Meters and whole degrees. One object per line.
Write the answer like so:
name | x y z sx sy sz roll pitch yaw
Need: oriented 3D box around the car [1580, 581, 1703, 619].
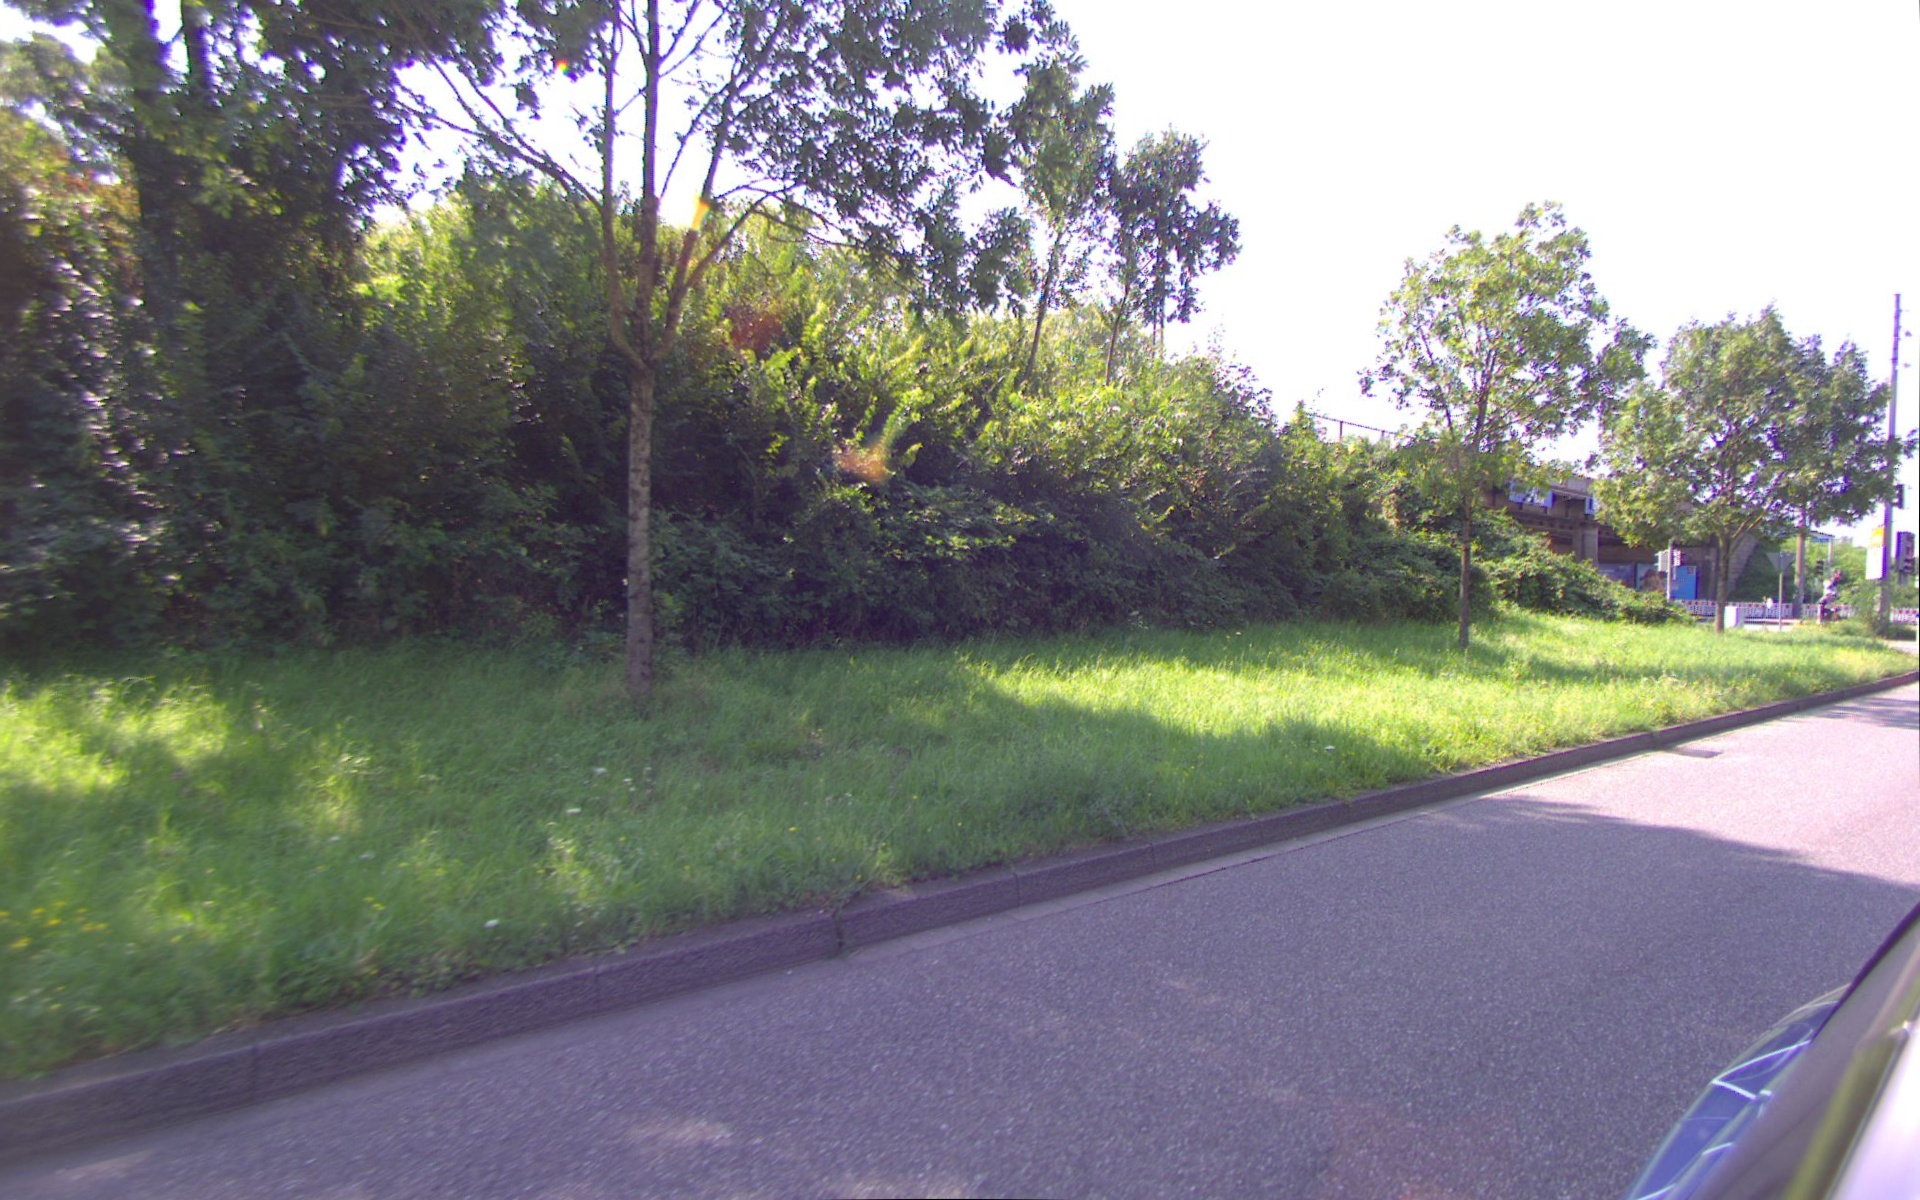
car | 32.246 -0.035 48.029 4.417 1.637 1.897 2 2 19

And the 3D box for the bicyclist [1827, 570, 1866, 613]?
bicyclist | 35.797 -0.341 40.881 0.960 1.679 0.707 2 1 25

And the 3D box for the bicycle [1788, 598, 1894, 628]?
bicycle | 35.598 0.497 40.944 2.946 1.062 1.225 3 1 25
